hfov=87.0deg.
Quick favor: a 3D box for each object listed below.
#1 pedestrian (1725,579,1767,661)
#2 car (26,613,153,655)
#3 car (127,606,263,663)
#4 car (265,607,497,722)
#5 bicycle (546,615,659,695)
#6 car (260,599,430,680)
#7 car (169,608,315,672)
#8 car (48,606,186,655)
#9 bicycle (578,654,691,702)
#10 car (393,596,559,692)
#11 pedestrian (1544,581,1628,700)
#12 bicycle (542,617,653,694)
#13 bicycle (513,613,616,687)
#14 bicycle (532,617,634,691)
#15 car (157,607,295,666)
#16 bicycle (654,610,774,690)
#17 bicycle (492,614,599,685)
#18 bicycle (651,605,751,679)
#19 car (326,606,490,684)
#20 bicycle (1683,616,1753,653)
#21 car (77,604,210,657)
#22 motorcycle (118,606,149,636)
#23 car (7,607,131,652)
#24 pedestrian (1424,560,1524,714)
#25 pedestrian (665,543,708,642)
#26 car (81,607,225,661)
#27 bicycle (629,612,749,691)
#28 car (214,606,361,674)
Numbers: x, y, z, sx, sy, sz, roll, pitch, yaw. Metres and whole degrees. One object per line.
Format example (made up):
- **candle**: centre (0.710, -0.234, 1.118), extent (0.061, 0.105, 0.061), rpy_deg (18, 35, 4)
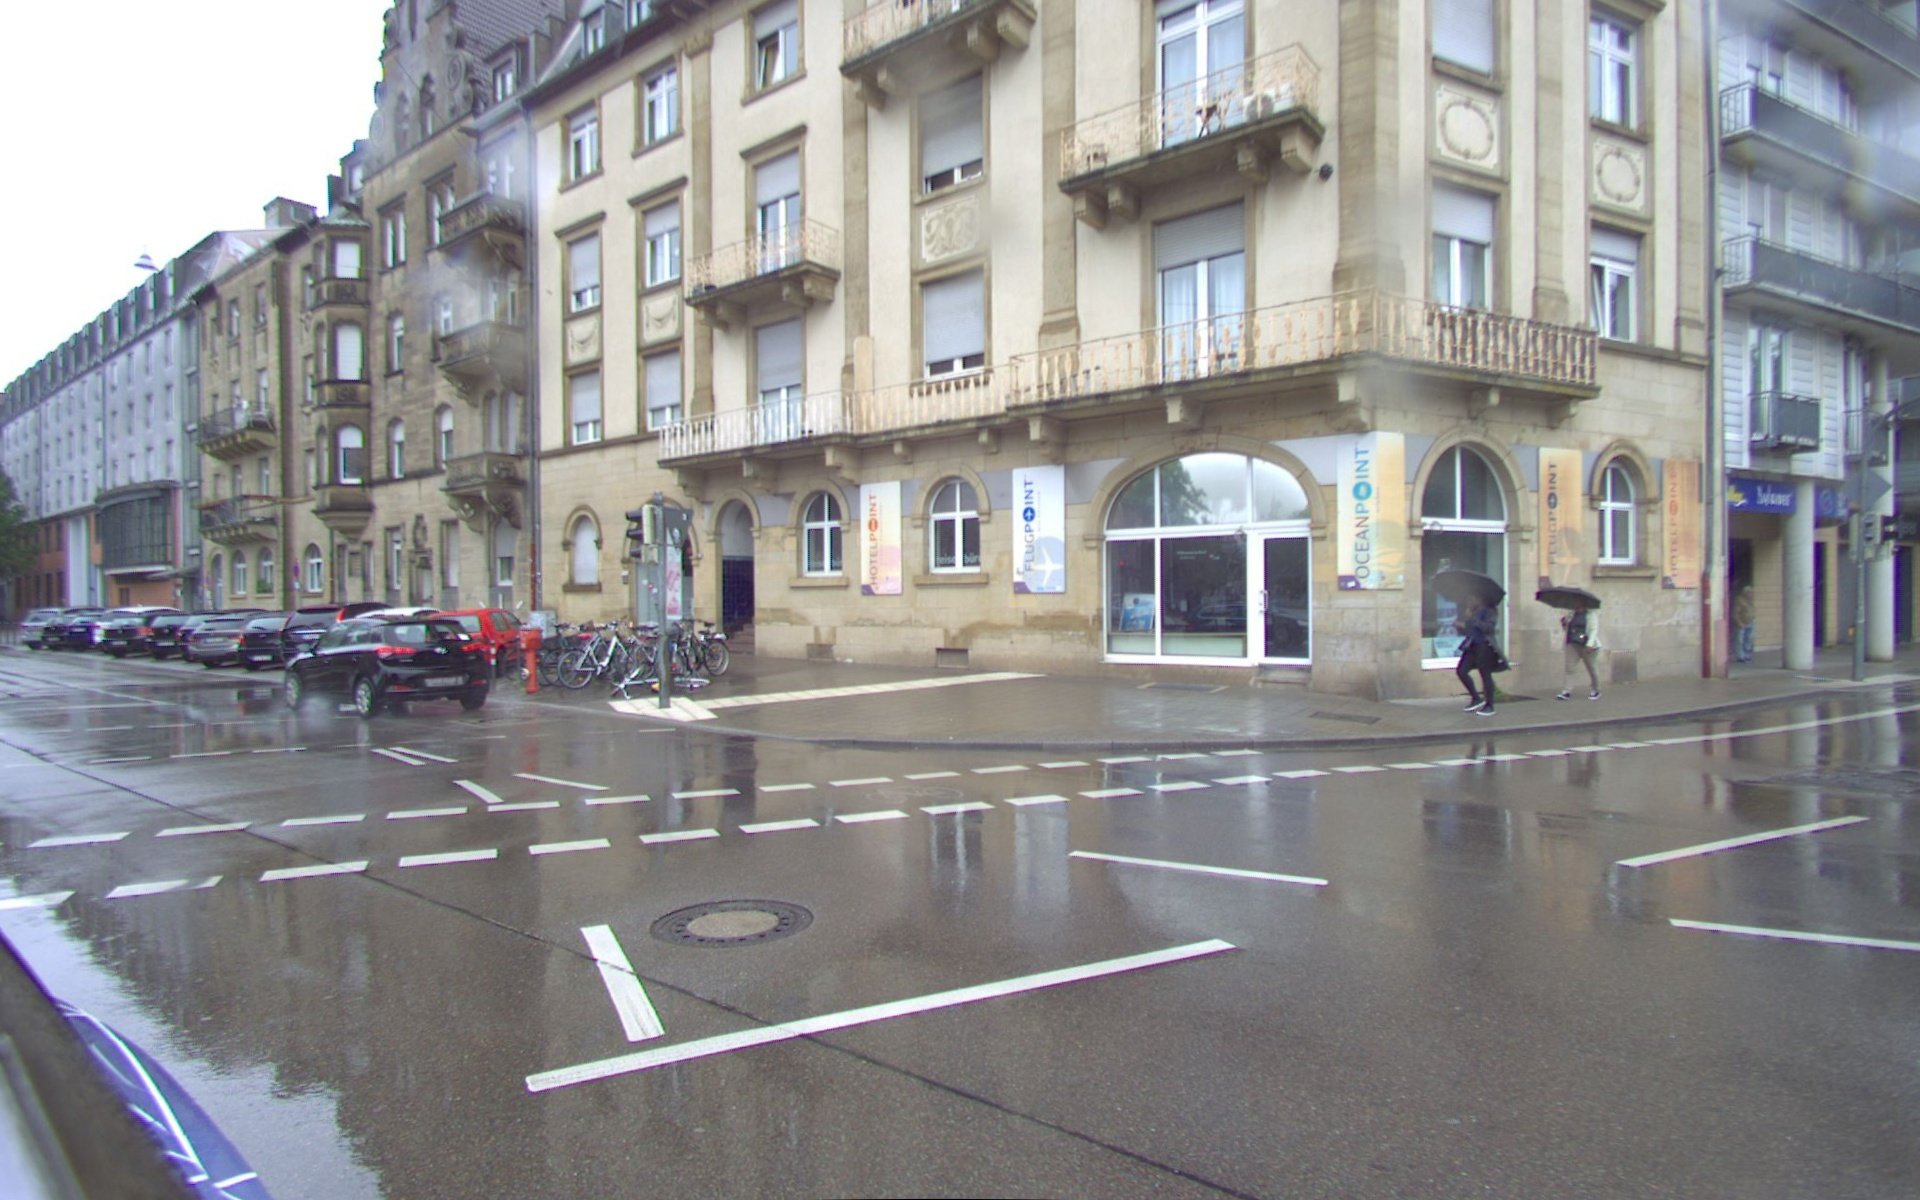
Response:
- **pedestrian**: centre (17.561, 0.442, 22.614), extent (0.601, 1.793, 0.501), rpy_deg (0, 0, -27)
- **car**: centre (-34.123, 1.294, 39.809), extent (1.696, 1.539, 3.723), rpy_deg (0, -1, 3)
- **car**: centre (-24.712, 1.071, 32.872), extent (1.605, 1.555, 3.760), rpy_deg (-2, 1, -1)
- **car**: centre (-8.968, 0.892, 15.594), extent (3.771, 1.558, 1.728), rpy_deg (0, -1, 36)
- **bicycle**: centre (-6.408, 0.960, 18.244), extent (0.437, 1.340, 1.956), rpy_deg (-1, -1, 41)
- **car**: centre (-15.108, 0.904, 25.135), extent (1.739, 1.704, 4.086), rpy_deg (-2, 1, -1)
- **car**: centre (-20.212, 1.078, 28.662), extent (1.677, 1.555, 3.430), rpy_deg (-2, 1, -1)
- **car**: centre (-31.879, 1.116, 38.411), extent (1.880, 1.538, 3.719), rpy_deg (0, 3, 8)
- **bicycle**: centre (-5.331, 1.271, 16.640), extent (1.461, 0.668, 1.040), rpy_deg (-1, 2, 8)
- **car**: centre (-10.580, 0.877, 22.480), extent (1.778, 1.518, 4.003), rpy_deg (-4, 5, -2)
- **pedestrian**: centre (9.278, 0.571, 15.004), extent (0.731, 1.671, 0.743), rpy_deg (-1, 4, -32)
- **bicycle**: centre (-6.657, 0.995, 18.710), extent (0.474, 1.193, 1.963), rpy_deg (-1, 3, 35)
- **bicycle**: centre (-7.530, 0.922, 19.330), extent (0.474, 1.193, 1.794), rpy_deg (-1, 4, 37)
- **bicycle**: centre (-7.072, 0.986, 19.064), extent (0.467, 1.193, 1.794), rpy_deg (-1, 3, 36)
- **car**: centre (-22.443, 1.065, 31.109), extent (1.607, 1.555, 3.441), rpy_deg (-2, 1, 3)
- **bicycle**: centre (-4.479, 0.879, 18.617), extent (0.638, 1.356, 2.321), rpy_deg (-1, 0, 34)
- **bicycle**: centre (-8.130, 0.947, 19.920), extent (0.600, 1.193, 1.790), rpy_deg (-1, 4, 44)
- **bicycle**: centre (-5.038, 0.791, 19.827), extent (0.583, 1.356, 2.040), rpy_deg (-1, 0, 34)
- **car**: centre (-12.759, 0.974, 23.697), extent (1.680, 1.545, 3.995), rpy_deg (-2, 1, -1)
- **bicycle**: centre (18.916, 0.841, 25.251), extent (1.894, 0.873, 0.583), rpy_deg (-1, 0, -25)
- **car**: centre (-29.577, 1.060, 36.793), extent (1.754, 1.639, 3.727), rpy_deg (-2, 1, 1)
- **motorcycle**: centre (-42.561, 1.068, 52.081), extent (2.360, 1.474, 0.767), rpy_deg (-1, -1, 39)
- **car**: centre (-36.574, 1.172, 41.675), extent (1.790, 1.743, 3.925), rpy_deg (0, -1, -3)
- **pedestrian**: centre (6.909, 0.458, 13.620), extent (0.689, 1.980, 0.924), rpy_deg (0, 3, -34)
- **pedestrian**: centre (-6.708, -0.181, 24.818), extent (0.834, 2.357, 0.767), rpy_deg (0, 0, -29)
- **car**: centre (-27.305, 1.118, 34.411), extent (1.756, 1.555, 3.724), rpy_deg (-2, 1, 4)
- **bicycle**: centre (-5.039, 0.922, 18.971), extent (0.638, 1.356, 2.321), rpy_deg (-1, 0, 34)
- **car**: centre (-17.855, 1.010, 27.063), extent (1.677, 1.536, 3.311), rpy_deg (-2, 1, 0)
